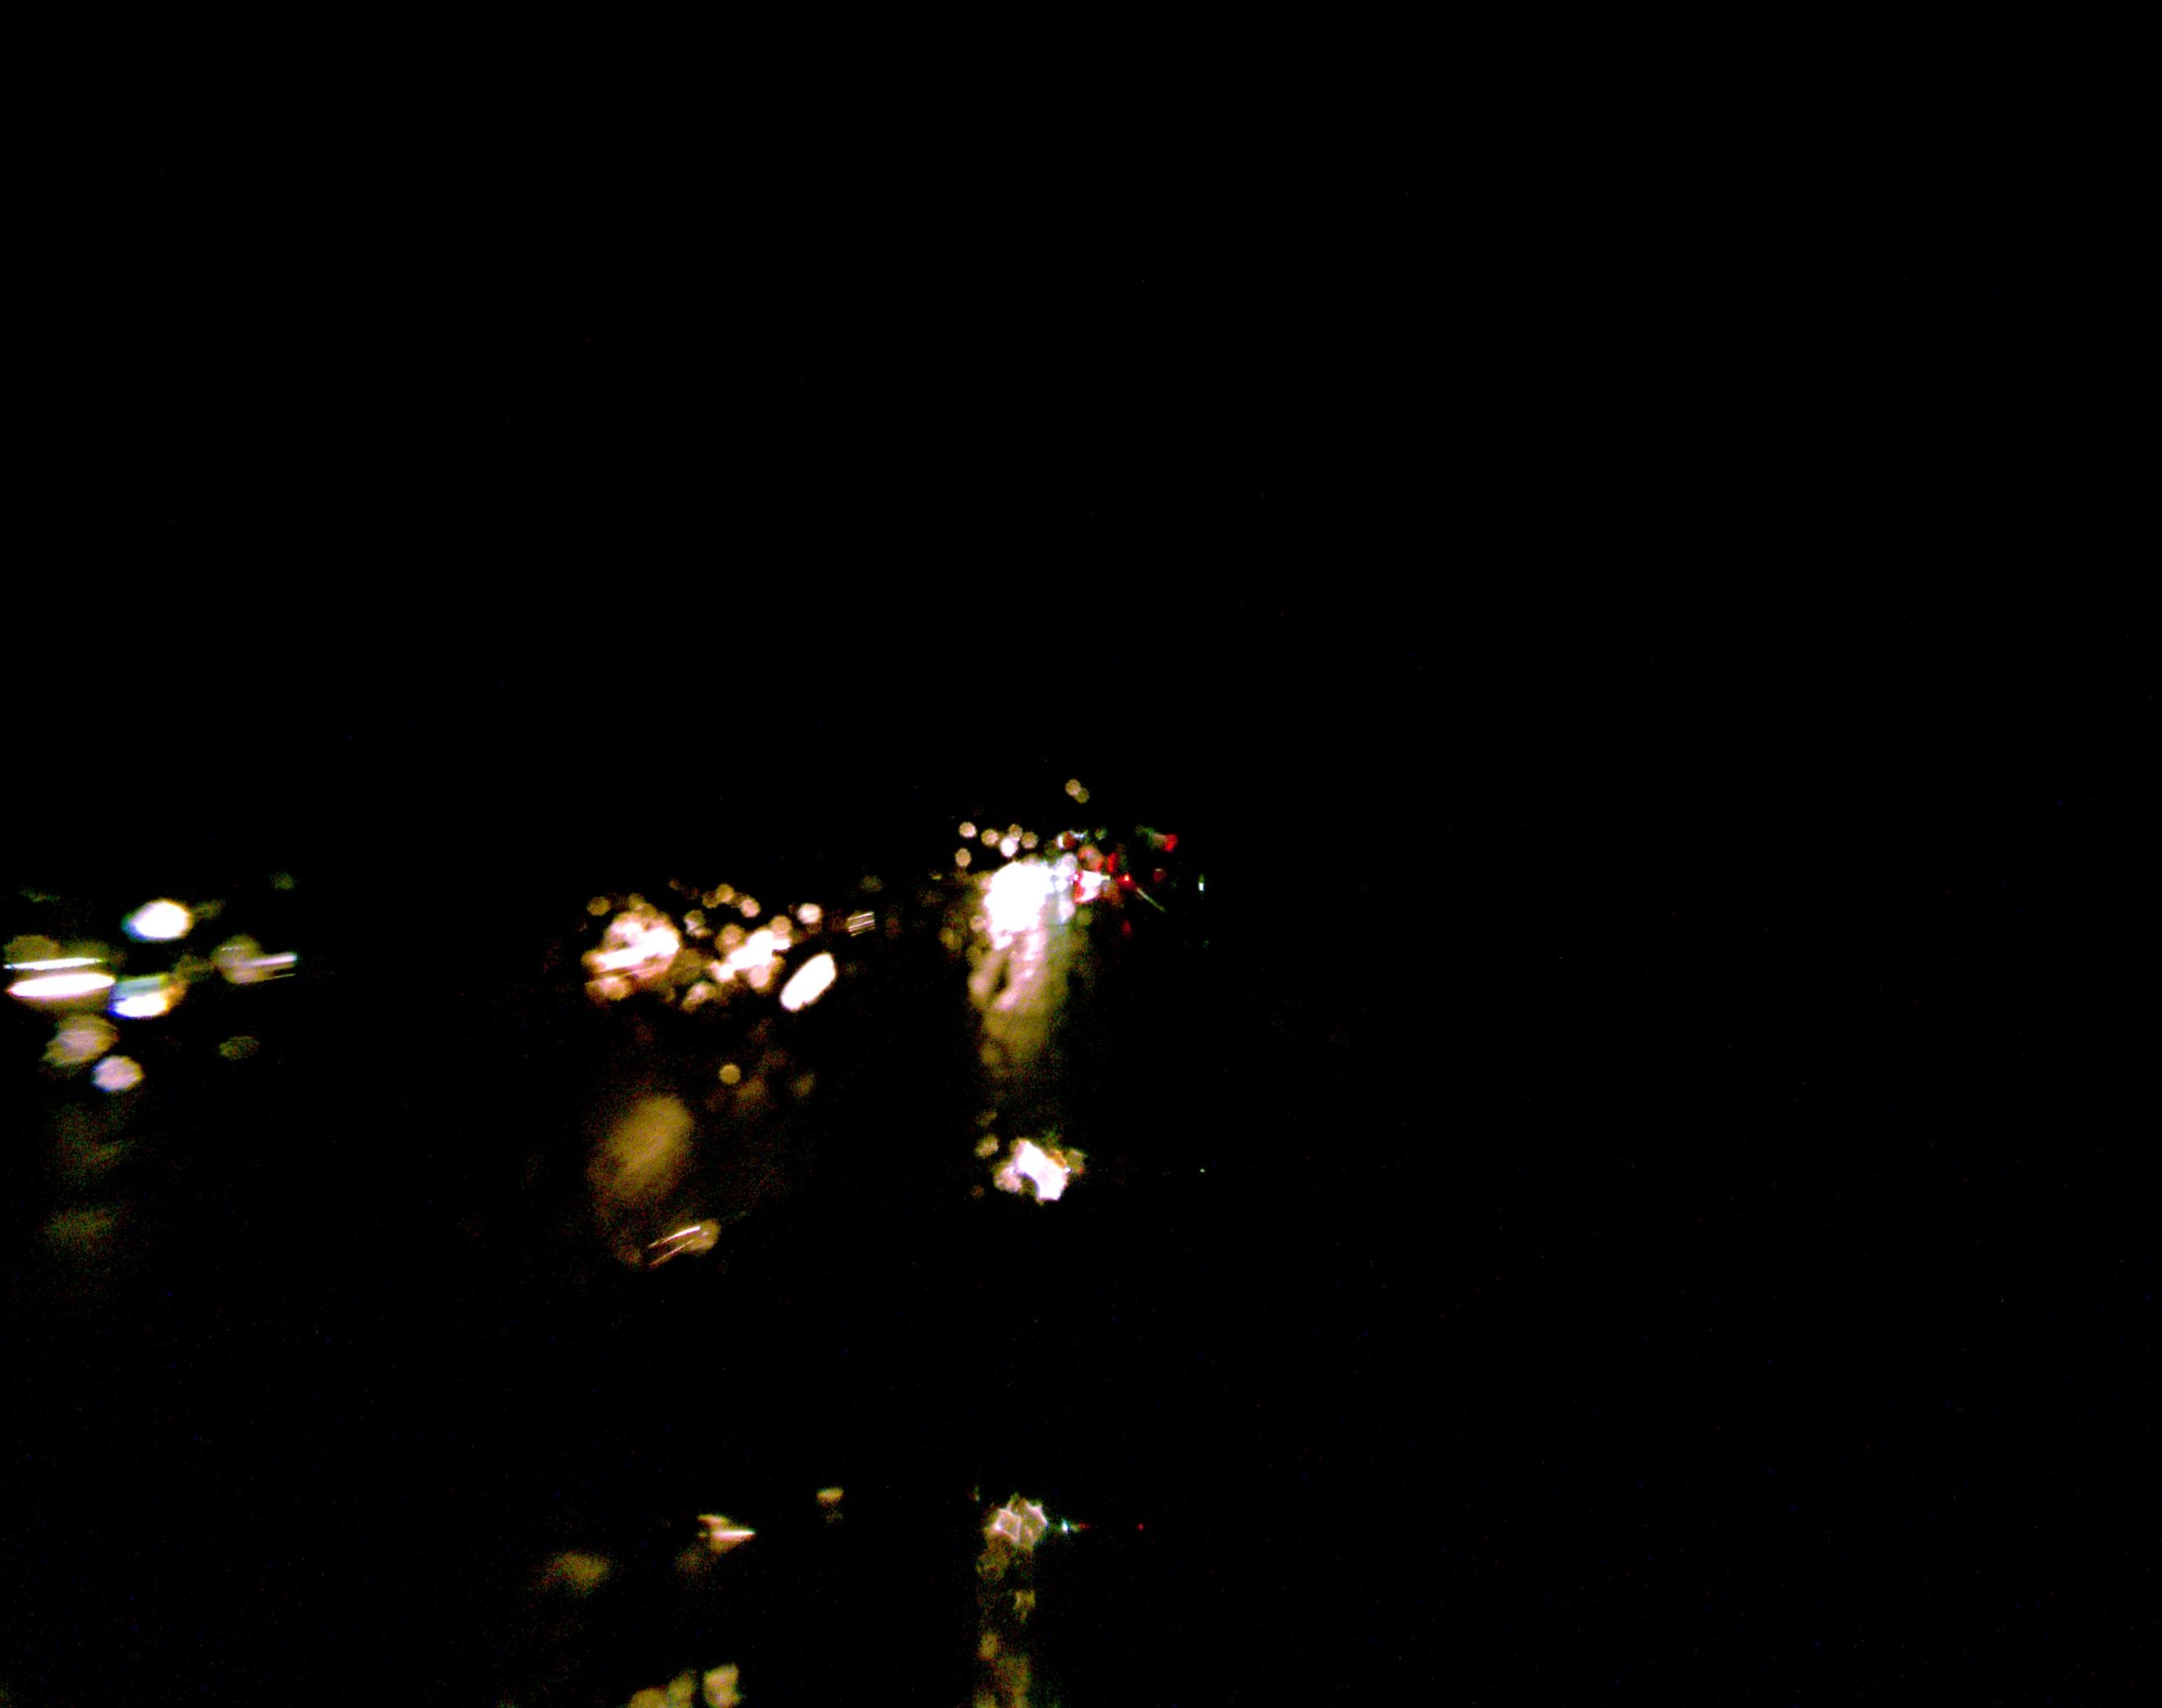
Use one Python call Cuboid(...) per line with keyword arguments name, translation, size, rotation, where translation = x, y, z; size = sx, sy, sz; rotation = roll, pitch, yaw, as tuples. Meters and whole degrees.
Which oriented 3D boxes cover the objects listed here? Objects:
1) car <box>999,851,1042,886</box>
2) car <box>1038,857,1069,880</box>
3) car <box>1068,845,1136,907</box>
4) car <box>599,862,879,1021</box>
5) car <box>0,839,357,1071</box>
Cuboid(name="car", translation=(-2.813, 0.656, 38.612), size=(1.657, 1.560, 3.561), rotation=(-1, 0, 1))
Cuboid(name="car", translation=(-1.855, 0.957, 55.960), size=(1.749, 1.405, 4.490), rotation=(1, 1, 2))
Cuboid(name="car", translation=(0.687, 0.681, 26.261), size=(1.986, 1.807, 3.919), rotation=(-1, 0, 2))
Cuboid(name="car", translation=(-3.602, 0.824, 9.302), size=(1.592, 1.424, 3.553), rotation=(-1, 0, 1))
Cuboid(name="car", translation=(-10.143, 0.923, 7.657), size=(4.915, 1.838, 1.935), rotation=(-3, 0, 2))
